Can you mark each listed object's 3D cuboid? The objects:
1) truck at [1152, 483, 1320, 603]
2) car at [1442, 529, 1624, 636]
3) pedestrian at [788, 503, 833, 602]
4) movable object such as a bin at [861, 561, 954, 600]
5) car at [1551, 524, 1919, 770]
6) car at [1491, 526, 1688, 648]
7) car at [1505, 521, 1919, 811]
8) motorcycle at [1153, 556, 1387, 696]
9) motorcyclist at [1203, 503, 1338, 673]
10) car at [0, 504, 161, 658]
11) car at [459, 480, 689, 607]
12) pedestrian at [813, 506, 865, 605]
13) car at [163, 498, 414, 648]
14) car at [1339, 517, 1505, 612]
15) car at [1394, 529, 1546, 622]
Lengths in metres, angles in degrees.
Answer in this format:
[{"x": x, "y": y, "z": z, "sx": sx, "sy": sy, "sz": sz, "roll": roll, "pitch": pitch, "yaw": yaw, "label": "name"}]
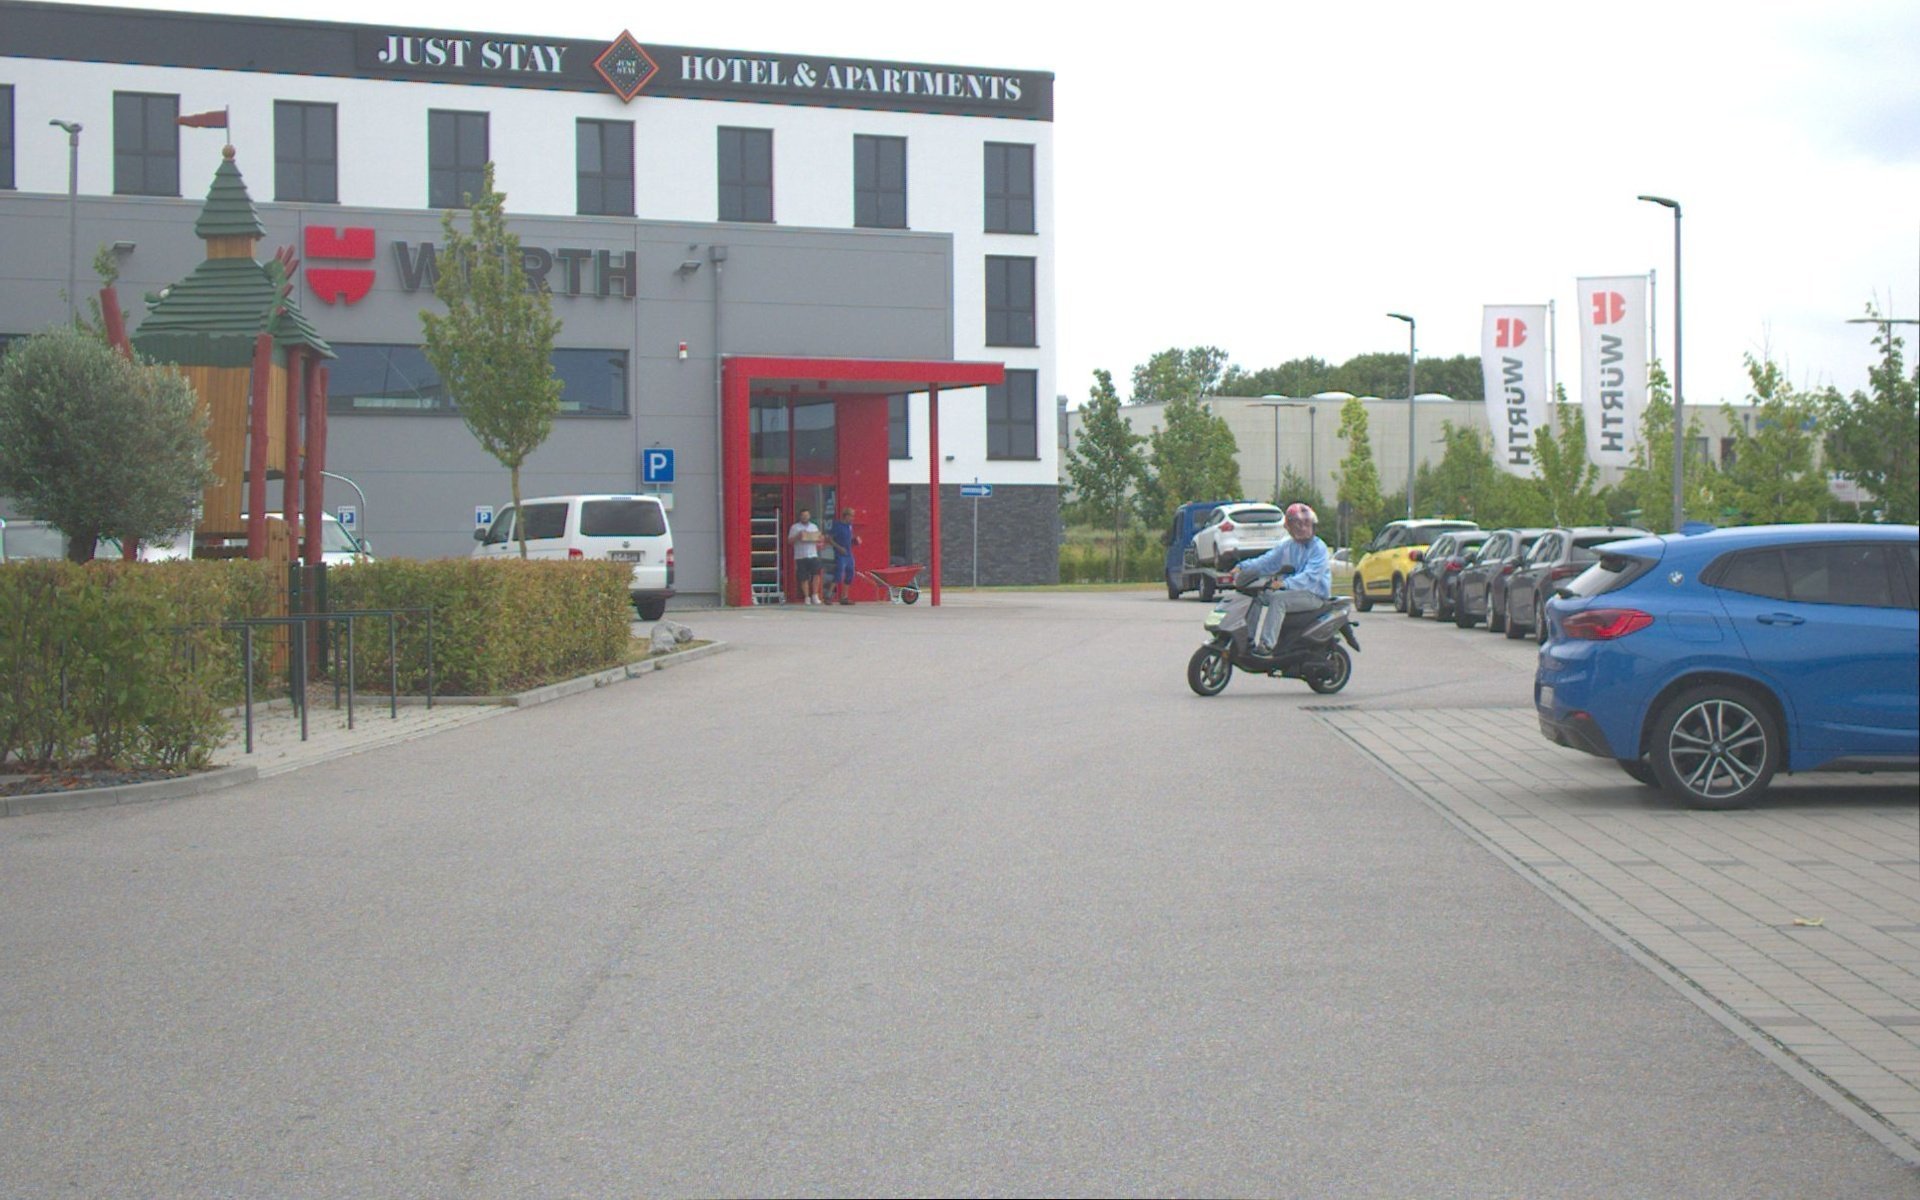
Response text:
[{"x": 6.245, "y": -1.241, "z": 78.927, "sx": 2.331, "sy": 2.398, "sz": 7.897, "roll": 1, "pitch": -2, "yaw": -7, "label": "truck"}, {"x": 8.199, "y": -0.280, "z": 49.539, "sx": 1.751, "sy": 1.464, "sz": 4.476, "roll": 0, "pitch": 1, "yaw": -2, "label": "car"}, {"x": -2.678, "y": -0.847, "z": 61.459, "sx": 0.623, "sy": 1.745, "sz": 0.906, "roll": 0, "pitch": 1, "yaw": -15, "label": "pedestrian"}, {"x": -0.974, "y": -0.368, "z": 63.606, "sx": 1.488, "sy": 0.701, "sz": 0.965, "roll": 0, "pitch": 0, "yaw": -21, "label": "movable object such as a bin"}, {"x": 5.904, "y": 0.263, "z": 21.870, "sx": 4.062, "sy": 1.454, "sz": 1.776, "roll": -1, "pitch": 2, "yaw": 5, "label": "car"}, {"x": 7.971, "y": -0.201, "z": 43.902, "sx": 1.751, "sy": 1.464, "sz": 4.476, "roll": 0, "pitch": 1, "yaw": 1, "label": "car"}, {"x": 5.269, "y": 0.333, "z": 19.220, "sx": 4.202, "sy": 1.539, "sz": 1.864, "roll": 0, "pitch": 1, "yaw": 3, "label": "car"}, {"x": 2.763, "y": 0.224, "z": 30.688, "sx": 1.914, "sy": 1.204, "sz": 0.795, "roll": -1, "pitch": 1, "yaw": -18, "label": "motorcycle"}, {"x": 2.768, "y": -0.114, "z": 30.678, "sx": 0.938, "sy": 1.484, "sz": 0.831, "roll": -1, "pitch": 1, "yaw": -18, "label": "motorcyclist"}, {"x": -10.778, "y": -0.224, "z": 40.111, "sx": 1.993, "sy": 1.645, "sz": 4.579, "roll": -2, "pitch": 1, "yaw": -23, "label": "car"}, {"x": -6.202, "y": -0.879, "z": 54.877, "sx": 2.055, "sy": 1.849, "sz": 4.062, "roll": -4, "pitch": 2, "yaw": -31, "label": "car"}, {"x": -2.209, "y": -0.812, "z": 62.929, "sx": 0.676, "sy": 1.796, "sz": 0.880, "roll": 1, "pitch": 1, "yaw": -21, "label": "pedestrian"}, {"x": -8.139, "y": -0.329, "z": 41.356, "sx": 1.993, "sy": 1.645, "sz": 4.579, "roll": -2, "pitch": 1, "yaw": -23, "label": "car"}, {"x": 8.350, "y": -0.639, "z": 62.408, "sx": 1.856, "sy": 1.644, "sz": 4.001, "roll": 1, "pitch": 0, "yaw": -10, "label": "car"}, {"x": 8.265, "y": -0.425, "z": 56.039, "sx": 1.751, "sy": 1.464, "sz": 4.108, "roll": 0, "pitch": 1, "yaw": -2, "label": "car"}]
